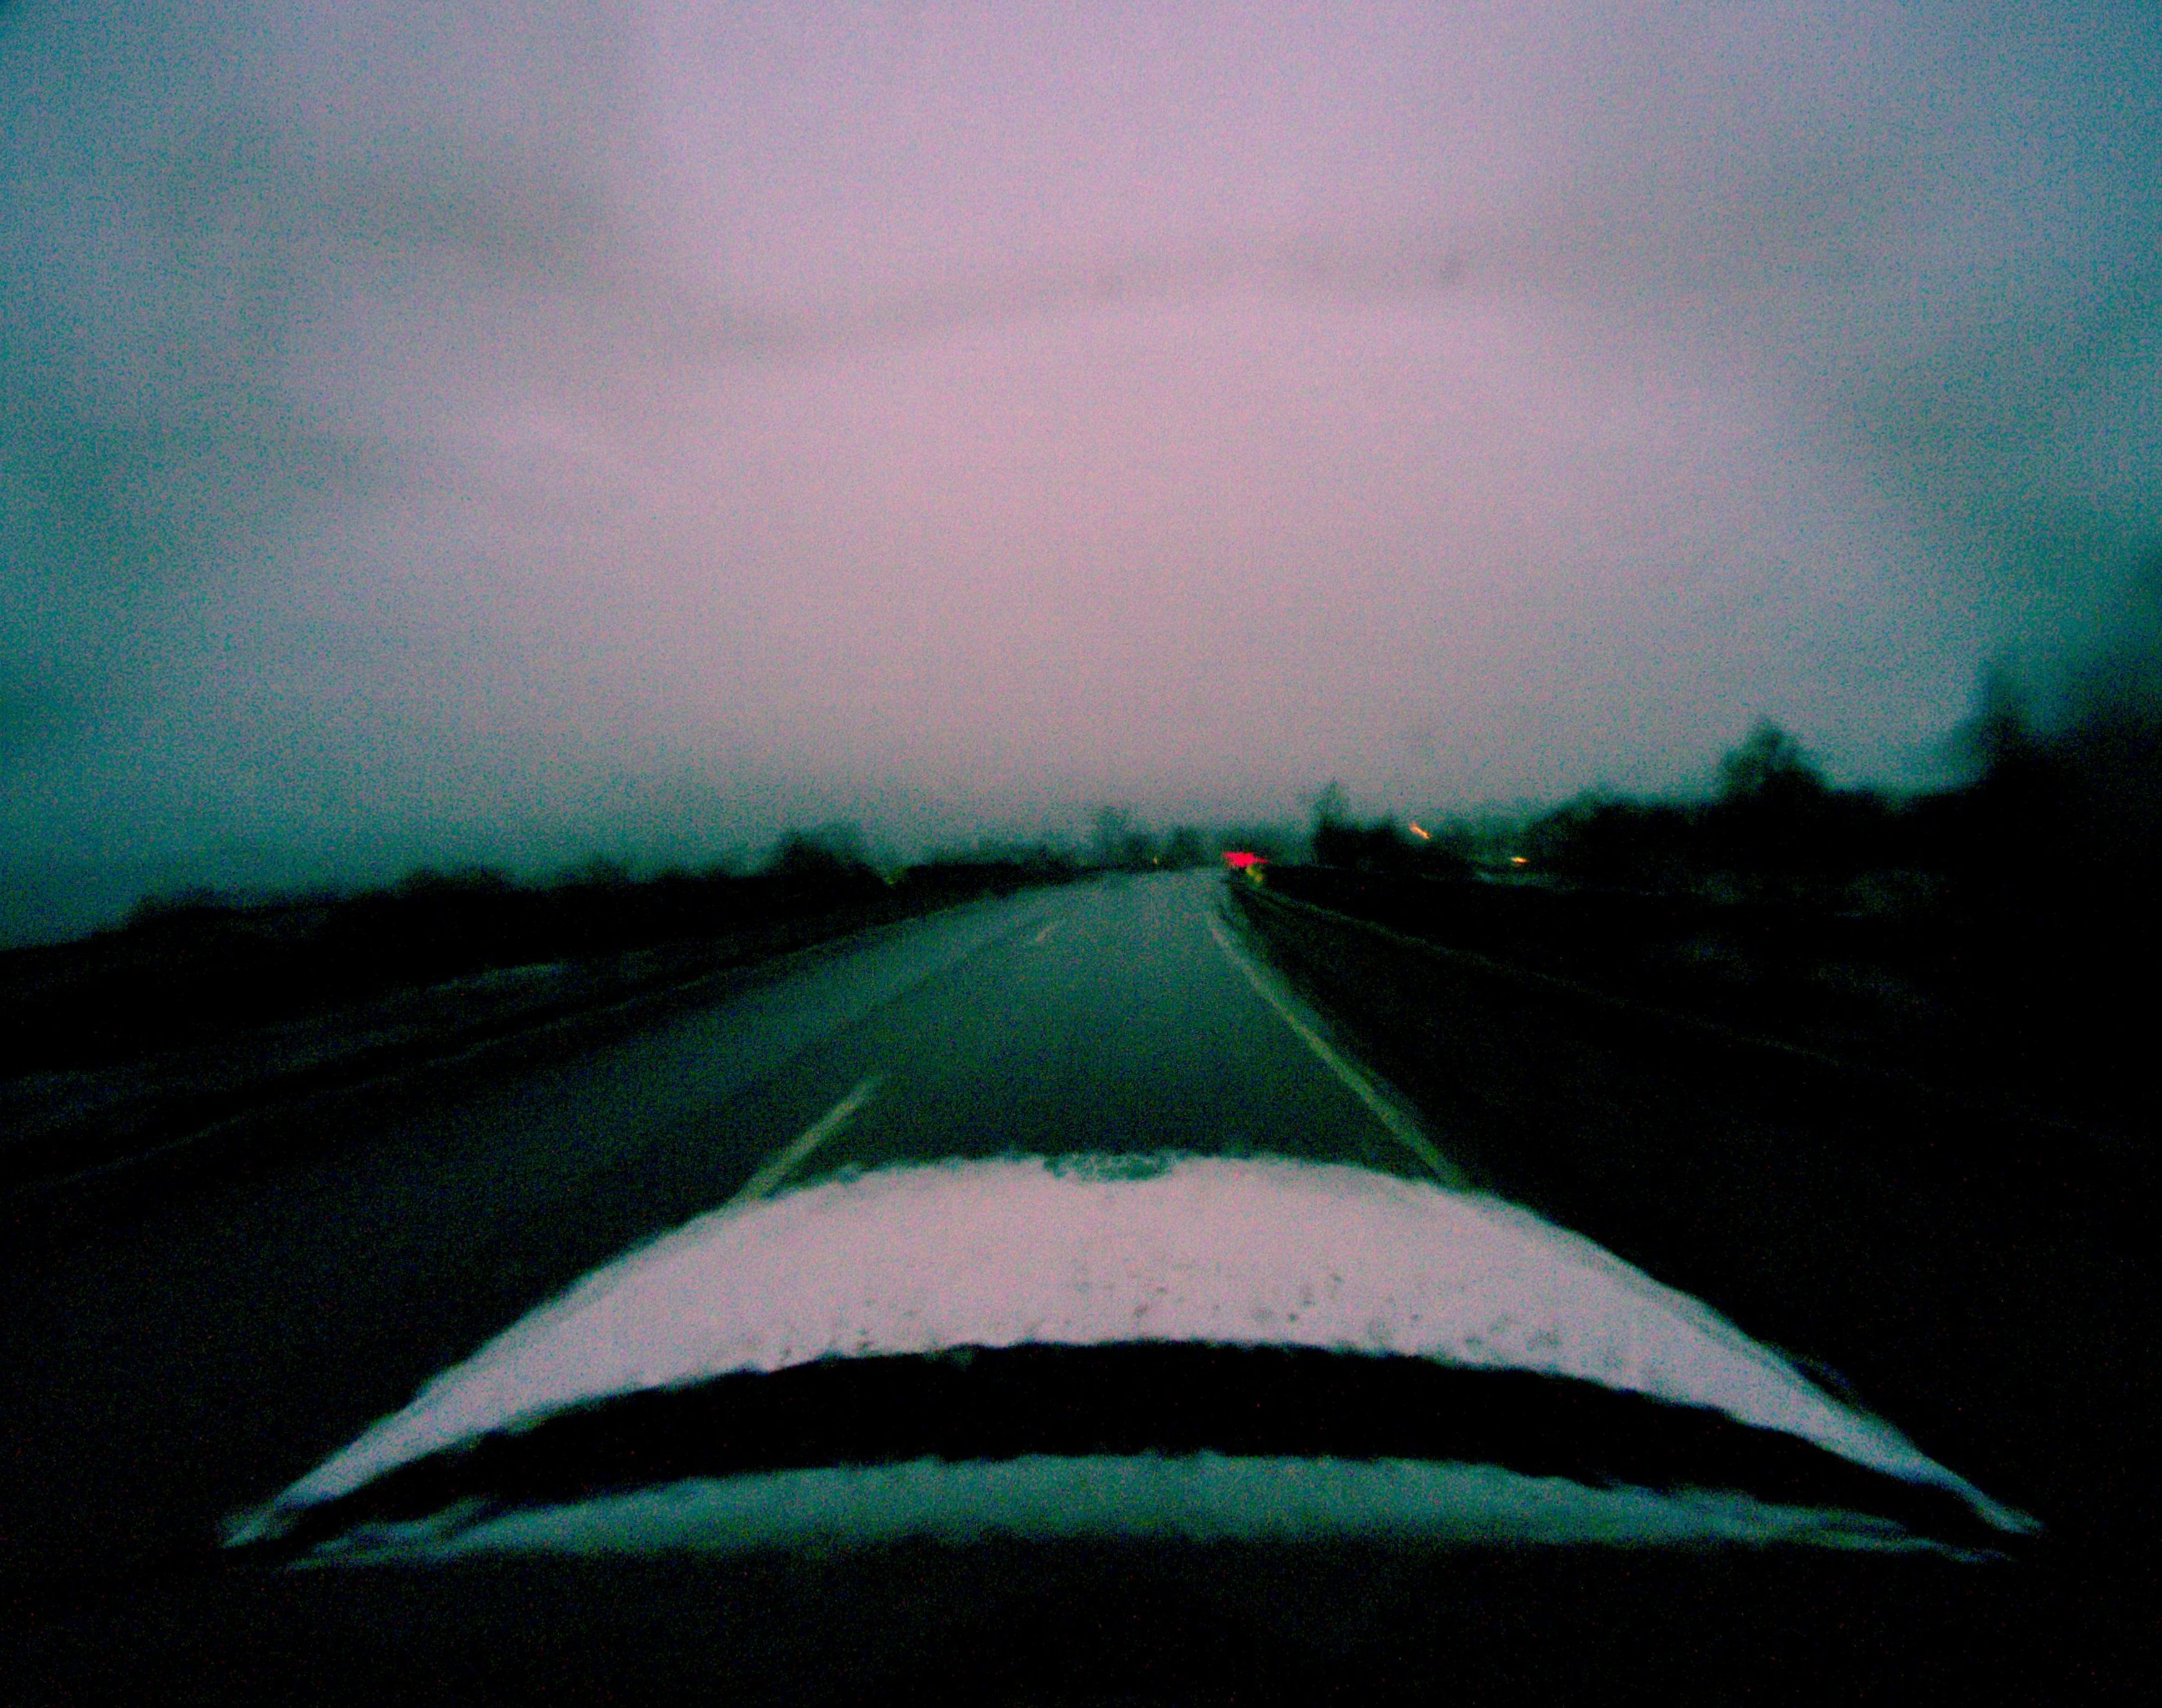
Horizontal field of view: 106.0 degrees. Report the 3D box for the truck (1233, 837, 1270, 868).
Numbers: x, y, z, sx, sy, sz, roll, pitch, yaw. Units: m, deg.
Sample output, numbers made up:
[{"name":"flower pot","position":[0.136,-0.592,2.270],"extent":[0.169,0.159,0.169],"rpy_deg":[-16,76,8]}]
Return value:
[{"name":"truck","position":[16.473,-0.158,78.461],"extent":[2.510,2.869,5.954],"rpy_deg":[0,0,22]}]
